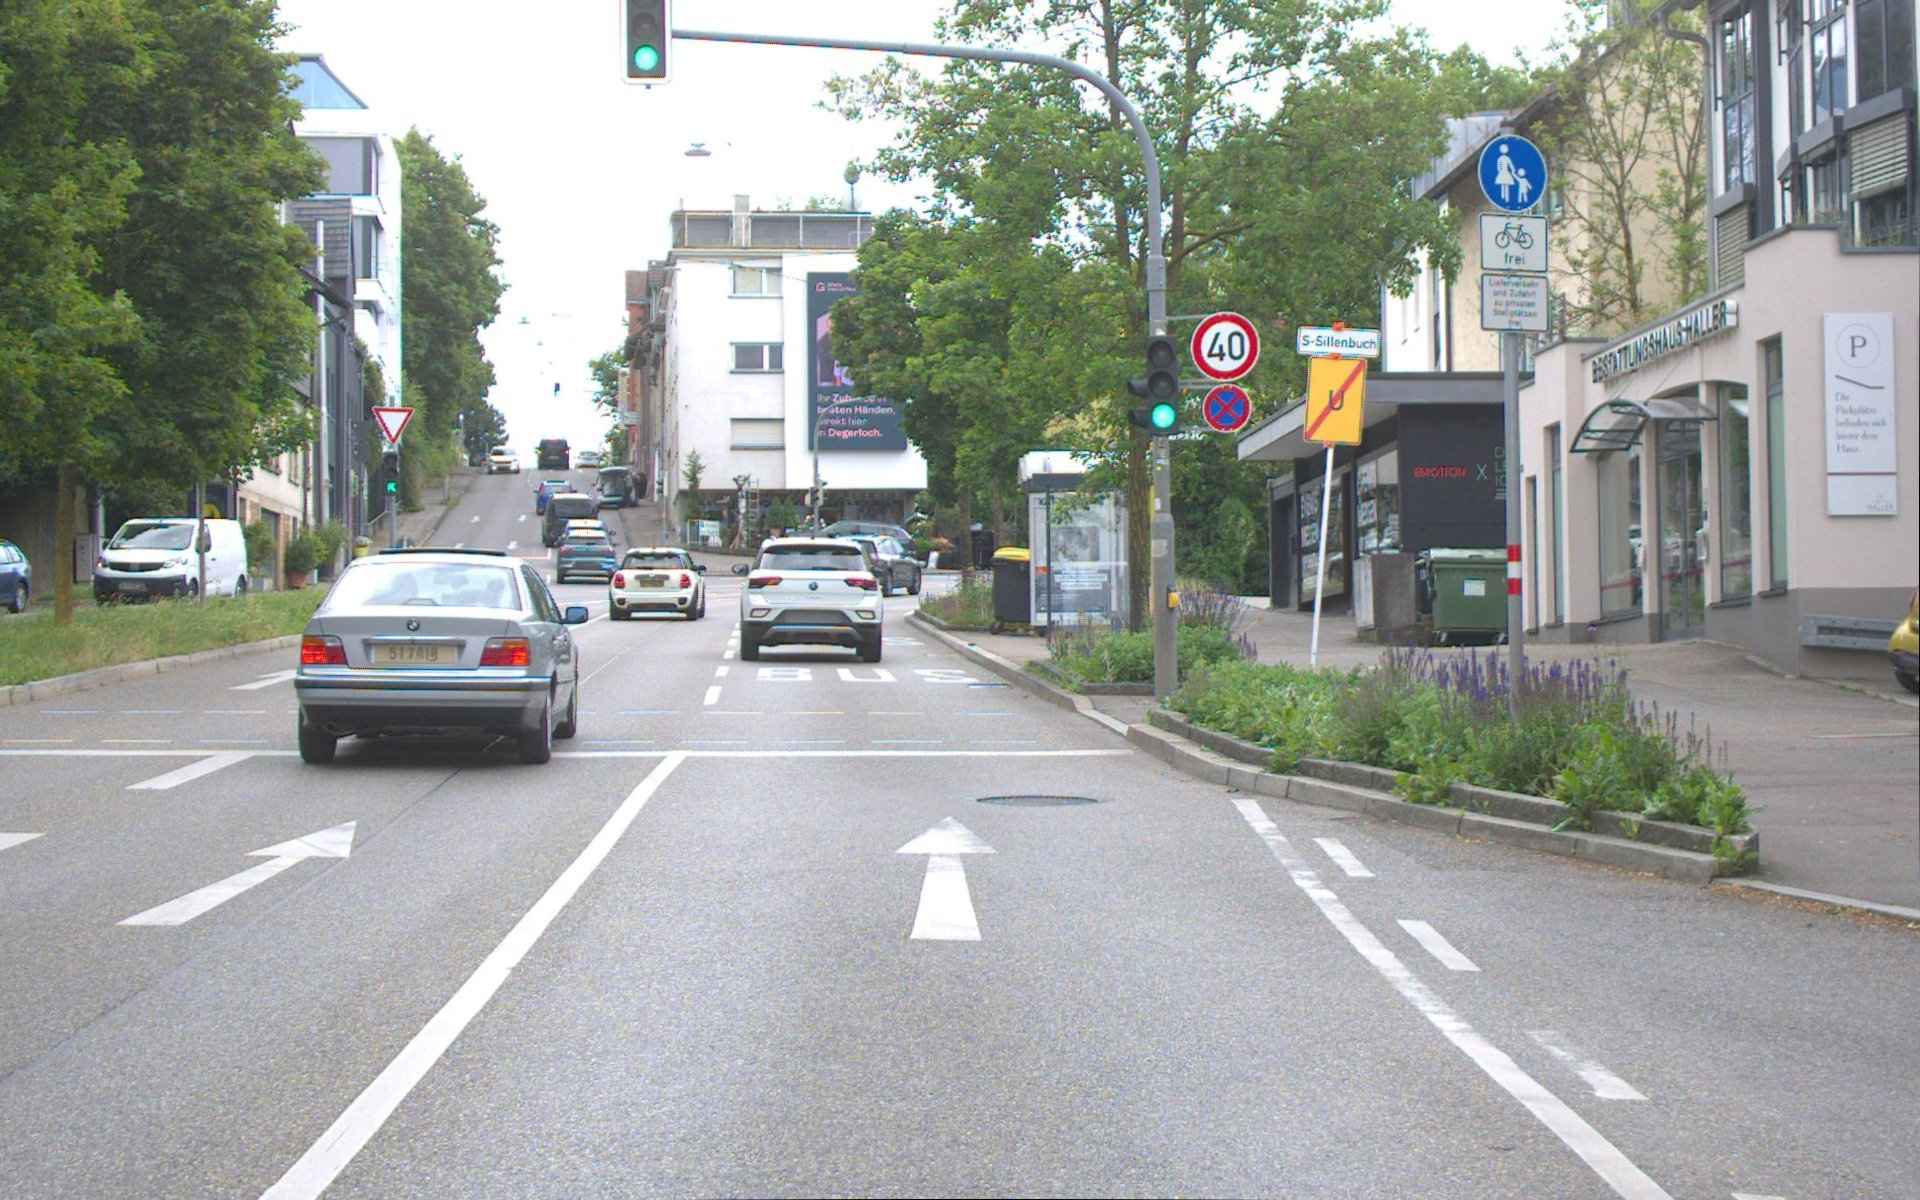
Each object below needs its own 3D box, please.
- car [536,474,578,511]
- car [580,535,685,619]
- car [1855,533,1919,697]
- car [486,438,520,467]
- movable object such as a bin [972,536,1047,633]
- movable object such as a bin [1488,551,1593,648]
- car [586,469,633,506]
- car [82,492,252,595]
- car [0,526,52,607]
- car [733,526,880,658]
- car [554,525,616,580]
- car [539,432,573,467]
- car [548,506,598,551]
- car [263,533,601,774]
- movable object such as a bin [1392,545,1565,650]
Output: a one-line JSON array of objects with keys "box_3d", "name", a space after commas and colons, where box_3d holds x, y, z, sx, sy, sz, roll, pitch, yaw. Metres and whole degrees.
[{"box_3d": [-17.451, -4.651, 149.083, 1.779, 1.573, 4.001, 1, 1, -6], "name": "car"}, {"box_3d": [-6.493, -0.477, 68.407, 1.780, 1.573, 4.001, 1, 1, -1], "name": "car"}, {"box_3d": [10.254, 0.271, 32.362, 2.989, 1.459, 1.667, 6, 2, -8], "name": "car"}, {"box_3d": [-26.526, -8.599, 199.597, 1.882, 1.562, 4.391, 0, 4, -7], "name": "car"}, {"box_3d": [0.765, -0.252, 53.863, 1.085, 1.476, 1.537, 0, 1, -2], "name": "movable object such as a bin"}, {"box_3d": [8.612, -0.021, 51.084, 1.340, 1.404, 1.128, 1, 1, -1], "name": "movable object such as a bin"}, {"box_3d": [-15.800, -5.055, 155.098, 2.089, 1.607, 4.001, 0, 1, -5], "name": "car"}, {"box_3d": [-15.860, -1.153, 68.987, 1.939, 1.951, 5.021, 1, 1, 4], "name": "car"}, {"box_3d": [-19.121, -0.661, 66.280, 1.712, 1.523, 4.300, 1, 1, 5], "name": "car"}, {"box_3d": [-2.006, -0.138, 44.324, 1.779, 1.573, 4.001, 1, 1, -3], "name": "car"}, {"box_3d": [-11.305, -1.445, 103.685, 1.779, 1.573, 4.001, 1, 1, -6], "name": "car"}, {"box_3d": [-24.312, -9.038, 207.087, 1.993, 2.007, 4.001, 1, 1, -6], "name": "car"}, {"box_3d": [-14.087, -2.607, 125.205, 1.779, 1.573, 4.001, 1, 1, -6], "name": "car"}, {"box_3d": [-3.523, 0.297, 23.562, 1.706, 1.459, 4.000, 1, 1, 0], "name": "car"}, {"box_3d": [7.589, -0.069, 50.675, 1.888, 1.447, 4.000, 1, 1, -1], "name": "movable object such as a bin"}]
